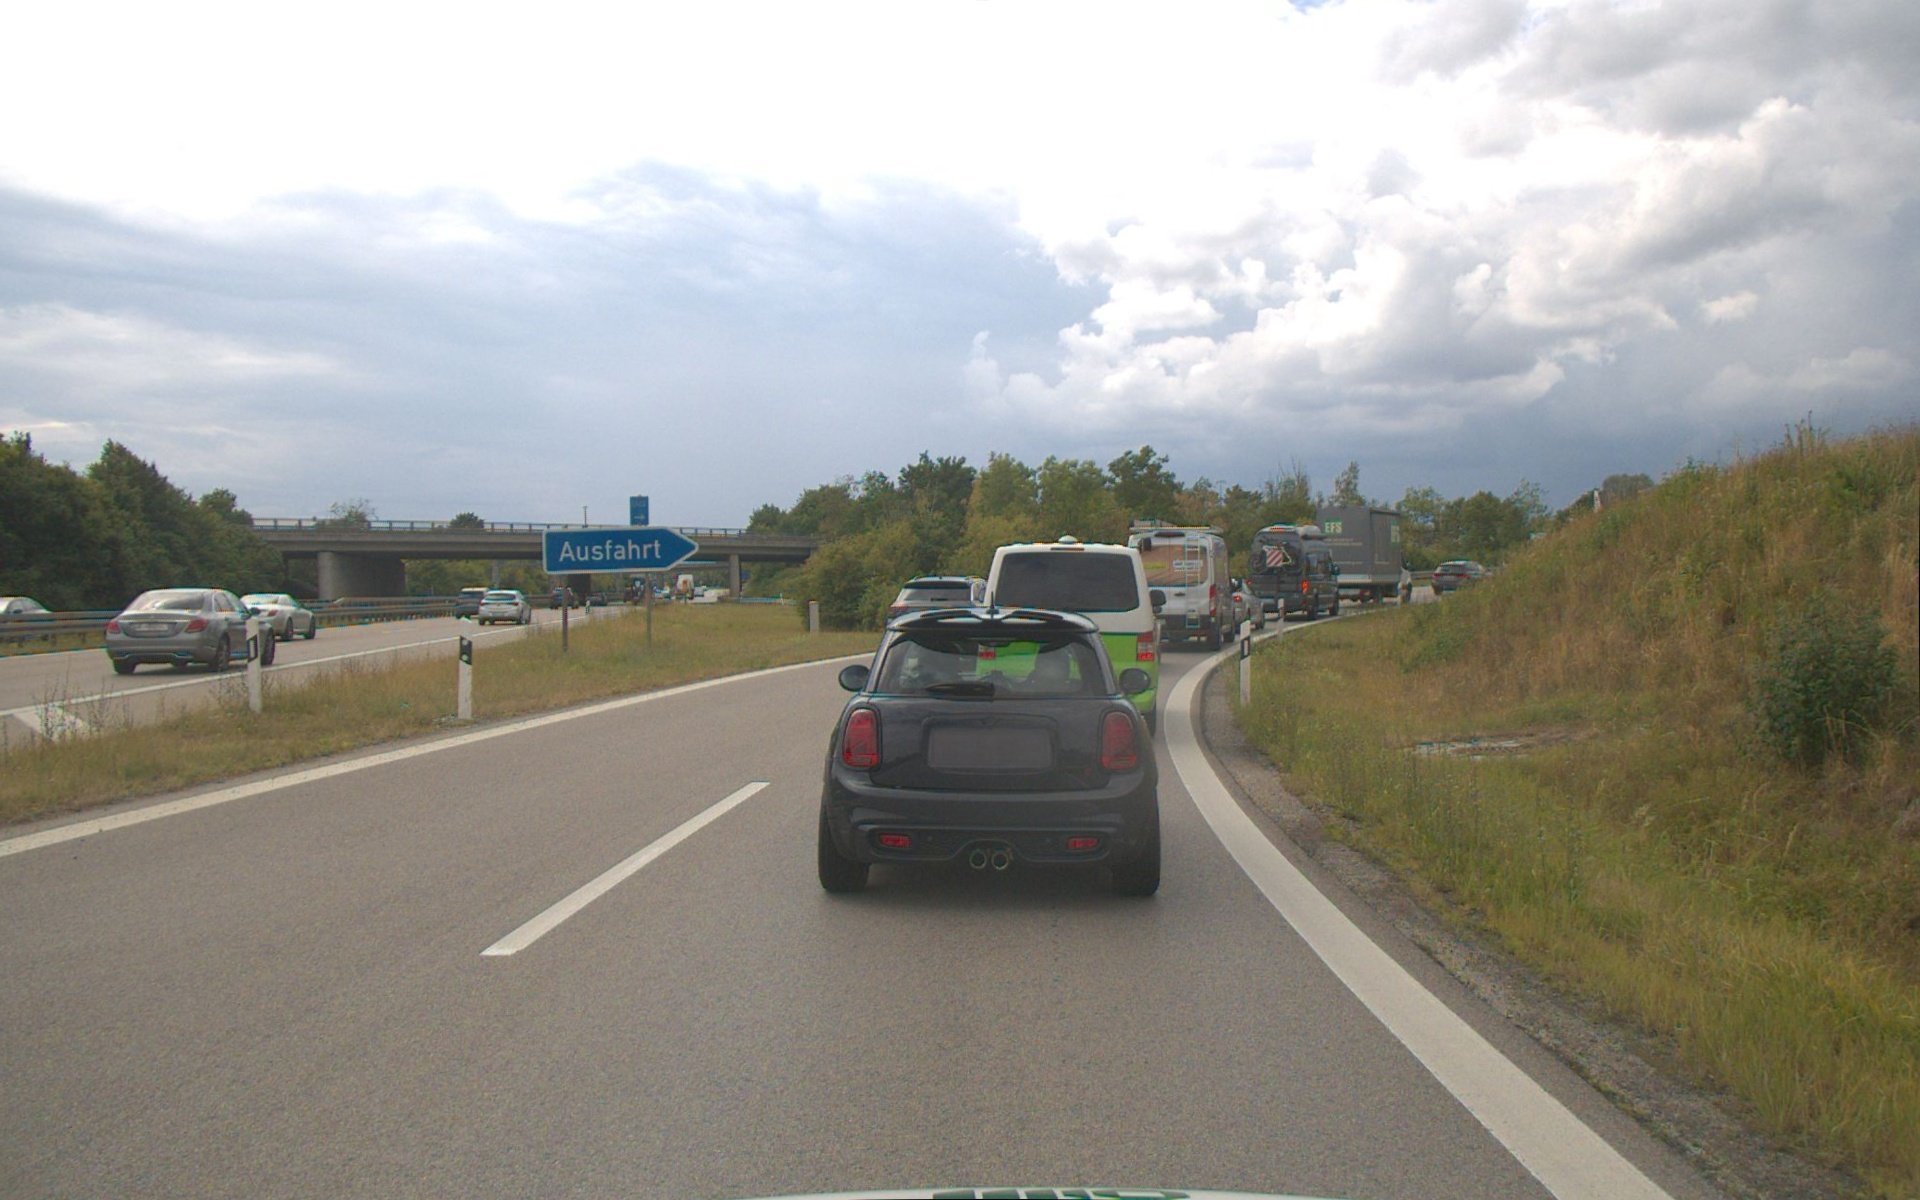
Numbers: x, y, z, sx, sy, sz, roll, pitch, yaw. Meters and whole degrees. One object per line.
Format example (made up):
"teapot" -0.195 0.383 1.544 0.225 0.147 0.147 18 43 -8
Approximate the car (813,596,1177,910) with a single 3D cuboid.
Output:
"car" 0.184 0.711 9.581 1.691 1.438 3.725 0 0 1

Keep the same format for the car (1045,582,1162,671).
"car" 2.539 0.414 28.578 1.724 1.423 3.728 0 0 9

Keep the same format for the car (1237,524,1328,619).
"car" 10.233 -0.900 52.234 2.062 2.845 3.999 1 1 22

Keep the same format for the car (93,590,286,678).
"car" -13.673 0.549 29.646 1.746 1.423 4.544 -1 0 -6

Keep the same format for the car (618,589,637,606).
"car" -39.700 -0.283 197.659 2.031 2.049 3.992 1 0 -9

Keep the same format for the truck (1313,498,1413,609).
"truck" 15.505 -1.689 63.376 2.187 3.975 6.005 1 -1 29

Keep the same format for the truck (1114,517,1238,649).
"truck" 4.876 -0.394 36.676 2.132 2.705 5.113 0 1 14

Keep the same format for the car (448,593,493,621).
"car" -26.155 0.348 88.445 1.747 1.423 4.297 -1 0 -9

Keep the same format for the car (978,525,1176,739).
"car" 1.378 0.288 17.973 1.746 2.049 4.004 0 0 10

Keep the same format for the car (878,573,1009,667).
"car" -0.229 0.348 29.912 1.757 1.583 3.964 0 0 9

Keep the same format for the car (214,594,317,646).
"car" -20.316 0.550 48.558 1.747 1.423 4.298 -1 0 -9

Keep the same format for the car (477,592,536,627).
"car" -19.288 0.379 70.492 1.745 1.423 4.024 -1 0 -6

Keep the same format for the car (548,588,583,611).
"car" -31.020 -0.044 130.159 2.055 1.700 4.301 -1 0 -6

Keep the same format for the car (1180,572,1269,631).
"car" 7.217 0.020 44.867 1.827 1.536 4.002 0 0 17

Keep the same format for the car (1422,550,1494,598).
"car" 22.190 -1.130 73.642 1.959 2.049 3.987 1 0 34

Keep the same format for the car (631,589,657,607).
"car" -30.307 -0.216 158.560 2.055 1.700 4.301 -1 0 -6

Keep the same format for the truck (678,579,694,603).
"truck" -41.156 -1.347 248.770 2.105 3.569 3.994 1 0 -7

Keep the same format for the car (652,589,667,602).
"car" -45.403 -0.665 249.908 1.955 2.002 3.995 1 0 -5

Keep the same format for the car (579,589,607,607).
"car" -34.480 -0.194 155.490 2.118 1.700 4.301 -1 0 -6
